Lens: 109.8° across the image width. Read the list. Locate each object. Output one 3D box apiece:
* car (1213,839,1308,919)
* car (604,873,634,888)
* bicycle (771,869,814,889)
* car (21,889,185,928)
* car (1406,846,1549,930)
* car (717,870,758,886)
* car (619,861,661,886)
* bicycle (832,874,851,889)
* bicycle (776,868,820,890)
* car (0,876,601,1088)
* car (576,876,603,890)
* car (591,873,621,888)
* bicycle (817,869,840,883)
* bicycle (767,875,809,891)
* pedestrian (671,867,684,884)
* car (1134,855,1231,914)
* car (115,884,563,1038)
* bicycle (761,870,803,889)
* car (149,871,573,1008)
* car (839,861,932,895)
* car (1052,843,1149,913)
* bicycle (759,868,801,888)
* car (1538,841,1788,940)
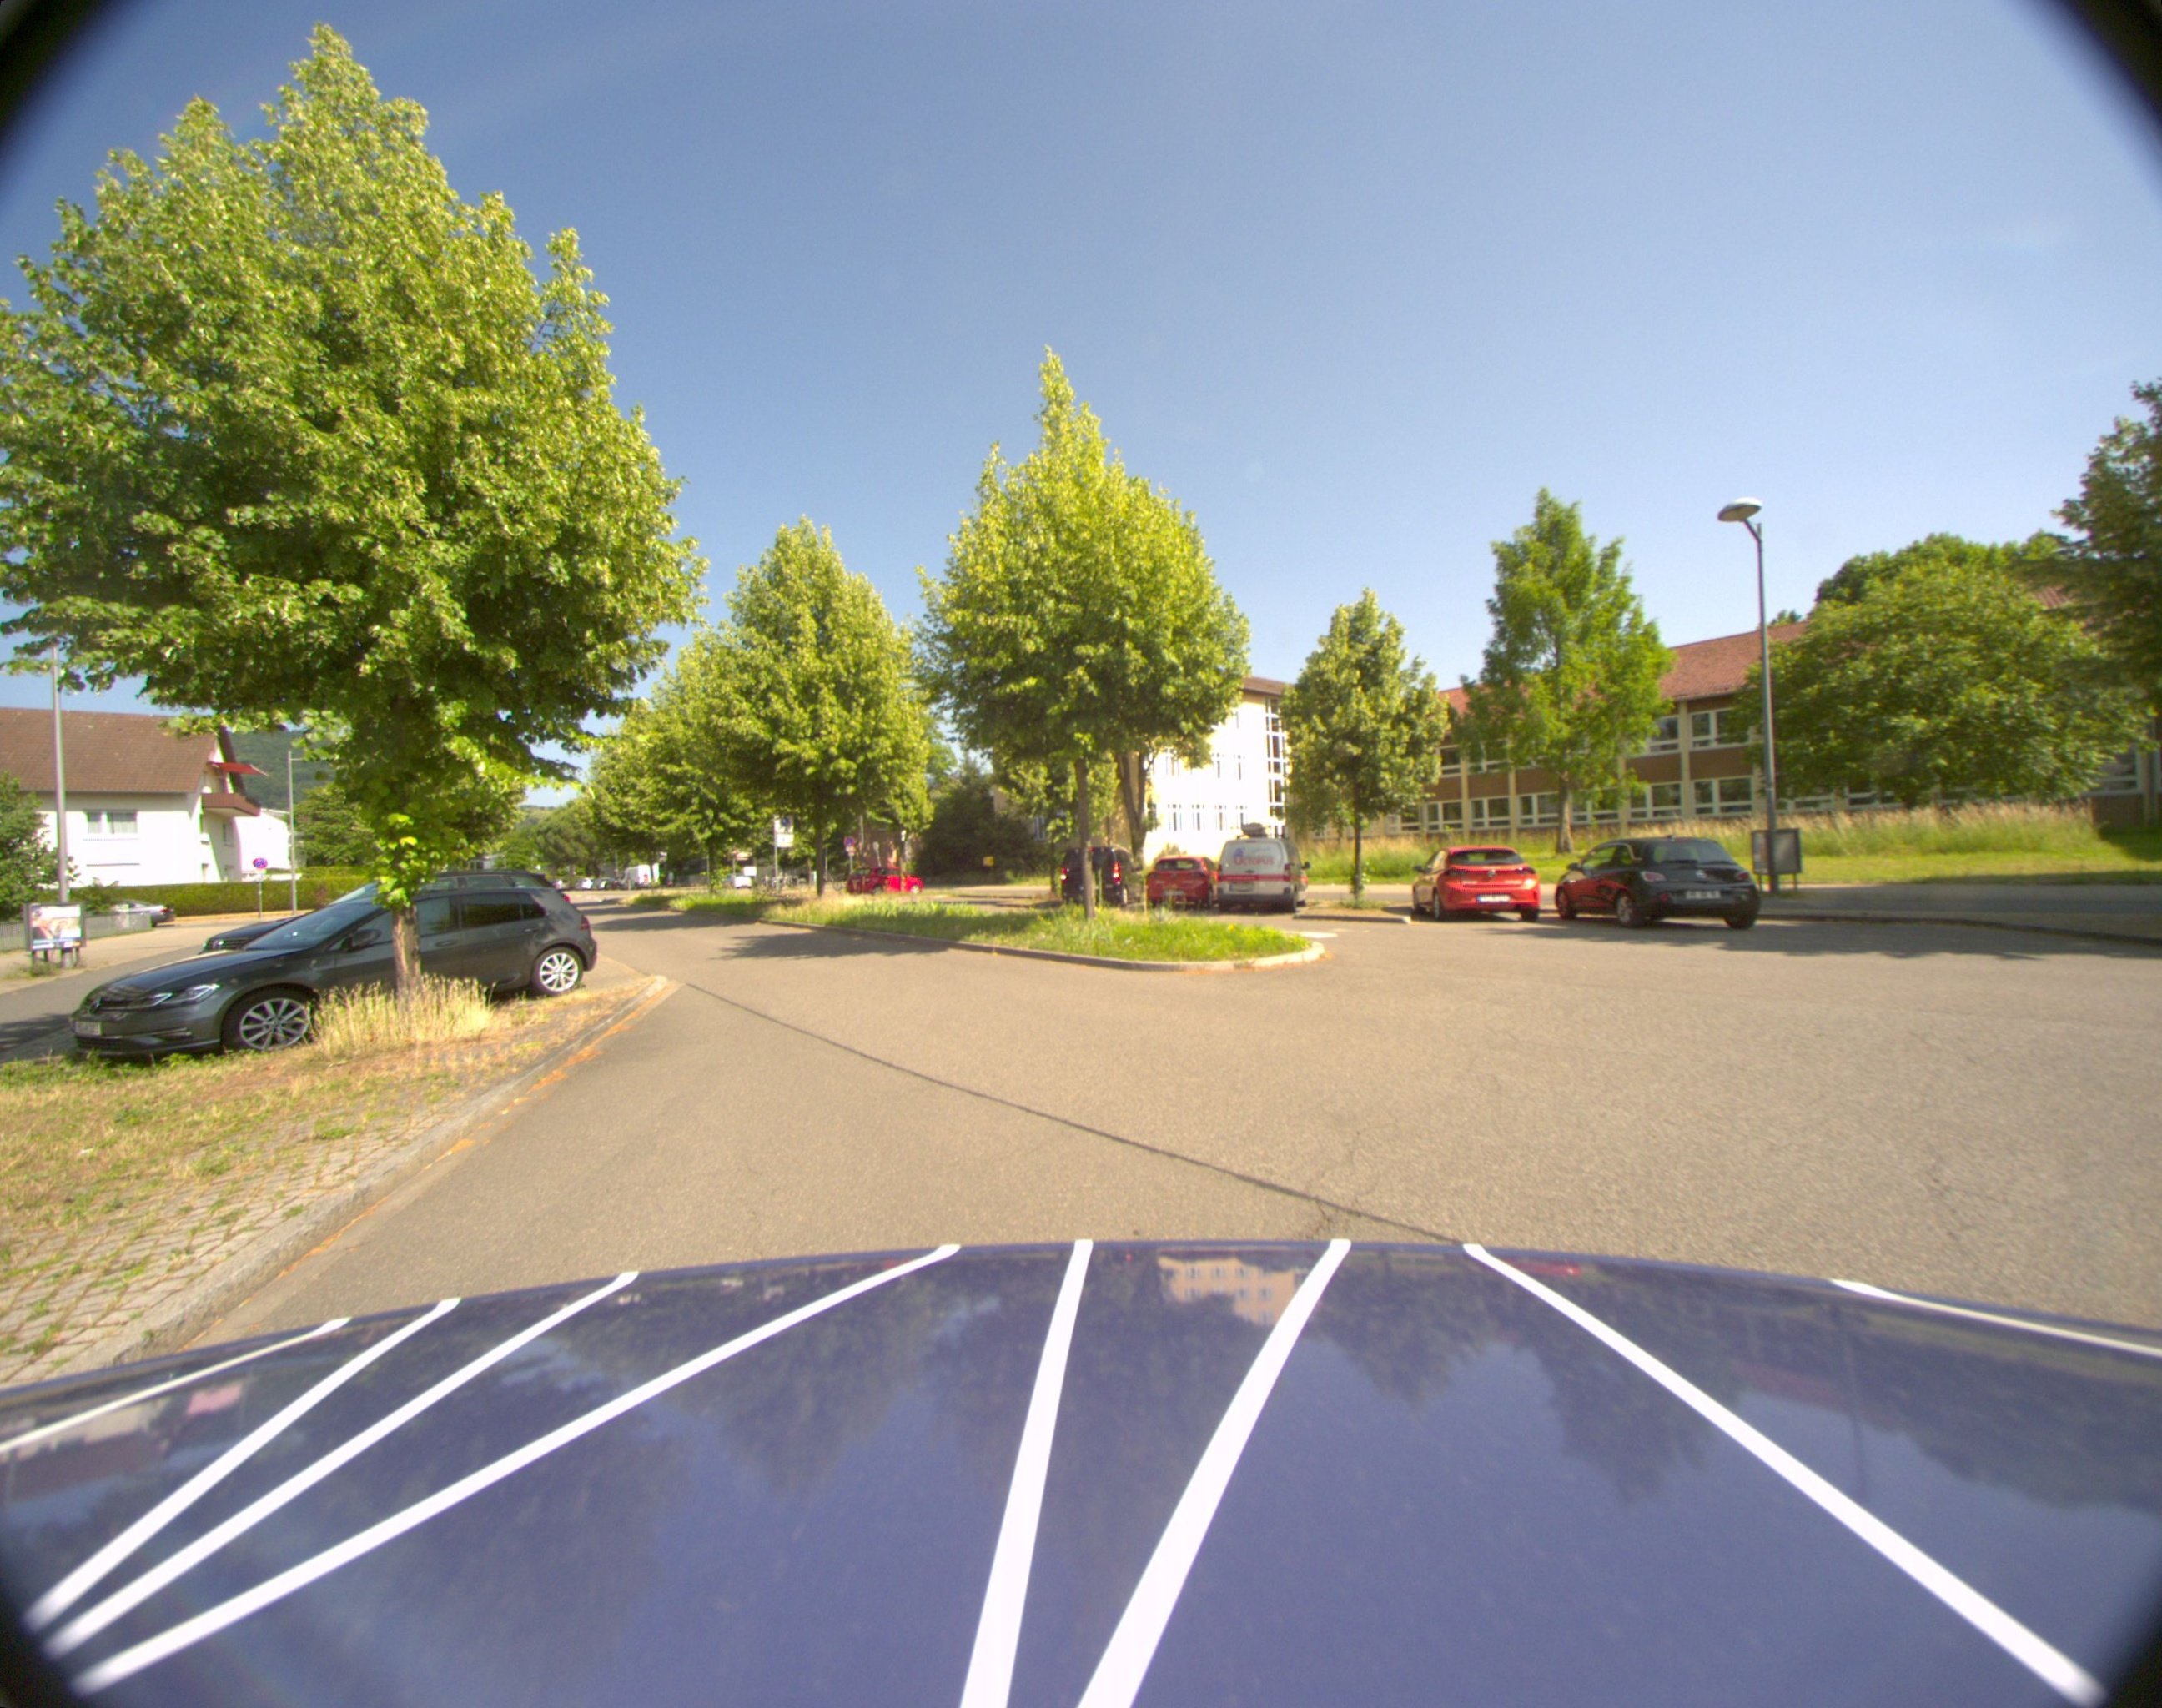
[{"bbox_3d":[4.586,0.541,19.002,1.815,1.762,3.779,-2,0,20],"label":"car"},{"bbox_3d":[-50.729,2.929,83.416,3.989,1.549,1.729,-3,-1,43],"label":"car"},{"bbox_3d":[-19.008,1.623,50.111,2.528,1.249,0.737,-1,-1,-42],"label":"bicycle"},{"bbox_3d":[-43.245,2.397,33.750,4.137,1.389,1.807,-2,-3,-39],"label":"car"},{"bbox_3d":[7.715,0.590,15.166,1.712,1.415,3.846,-2,0,15],"label":"car"},{"bbox_3d":[-29.588,2.056,65.424,3.989,1.259,1.729,-3,-1,43],"label":"car"},{"bbox_3d":[-46.238,2.077,79.591,5.937,2.481,2.100,-3,-1,43],"label":"car"},{"bbox_3d":[-13.949,1.594,44.248,0.523,0.898,1.267,-1,0,-44],"label":"bicycle"},{"bbox_3d":[-18.319,1.607,49.238,2.557,1.249,0.737,-3,0,-42],"label":"bicycle"},{"bbox_3d":[-8.022,1.132,8.412,1.996,1.521,4.123,-3,0,21],"label":"car"},{"bbox_3d":[-58.914,3.468,91.112,3.989,1.549,1.729,-3,-1,43],"label":"car"},{"bbox_3d":[-54.265,3.042,86.758,4.660,1.549,1.729,-3,-1,43],"label":"car"},{"bbox_3d":[-21.030,1.838,63.356,1.714,1.074,0.378,-3,0,1],"label":"bicycle"},{"bbox_3d":[-19.661,1.917,51.043,2.558,0.981,0.737,-1,-1,-42],"label":"bicycle"},{"bbox_3d":[-43.789,2.337,82.394,0.978,1.769,0.723,-3,1,-43],"label":"pedestrian"},{"bbox_3d":[2.907,0.797,21.070,1.852,1.419,3.780,-3,-1,20],"label":"car"},{"bbox_3d":[-9.817,1.282,10.520,1.765,1.465,4.005,-3,0,21],"label":"car"},{"bbox_3d":[-20.476,1.733,52.086,2.558,1.232,0.737,-1,-1,-42],"label":"bicycle"},{"bbox_3d":[-11.396,1.221,12.599,1.749,1.650,4.753,-2,0,21],"label":"car"},{"bbox_3d":[-9.214,1.100,36.053,1.995,1.457,4.008,-3,-1,30],"label":"car"},{"bbox_3d":[0.693,0.670,22.671,2.001,1.805,4.193,-3,-1,13],"label":"car"},{"bbox_3d":[-20.935,1.672,52.841,2.558,1.248,0.737,-1,-1,-42],"label":"bicycle"},{"bbox_3d":[9.563,0.547,12.920,1.853,1.415,3.778,-1,0,11],"label":"car"}]
